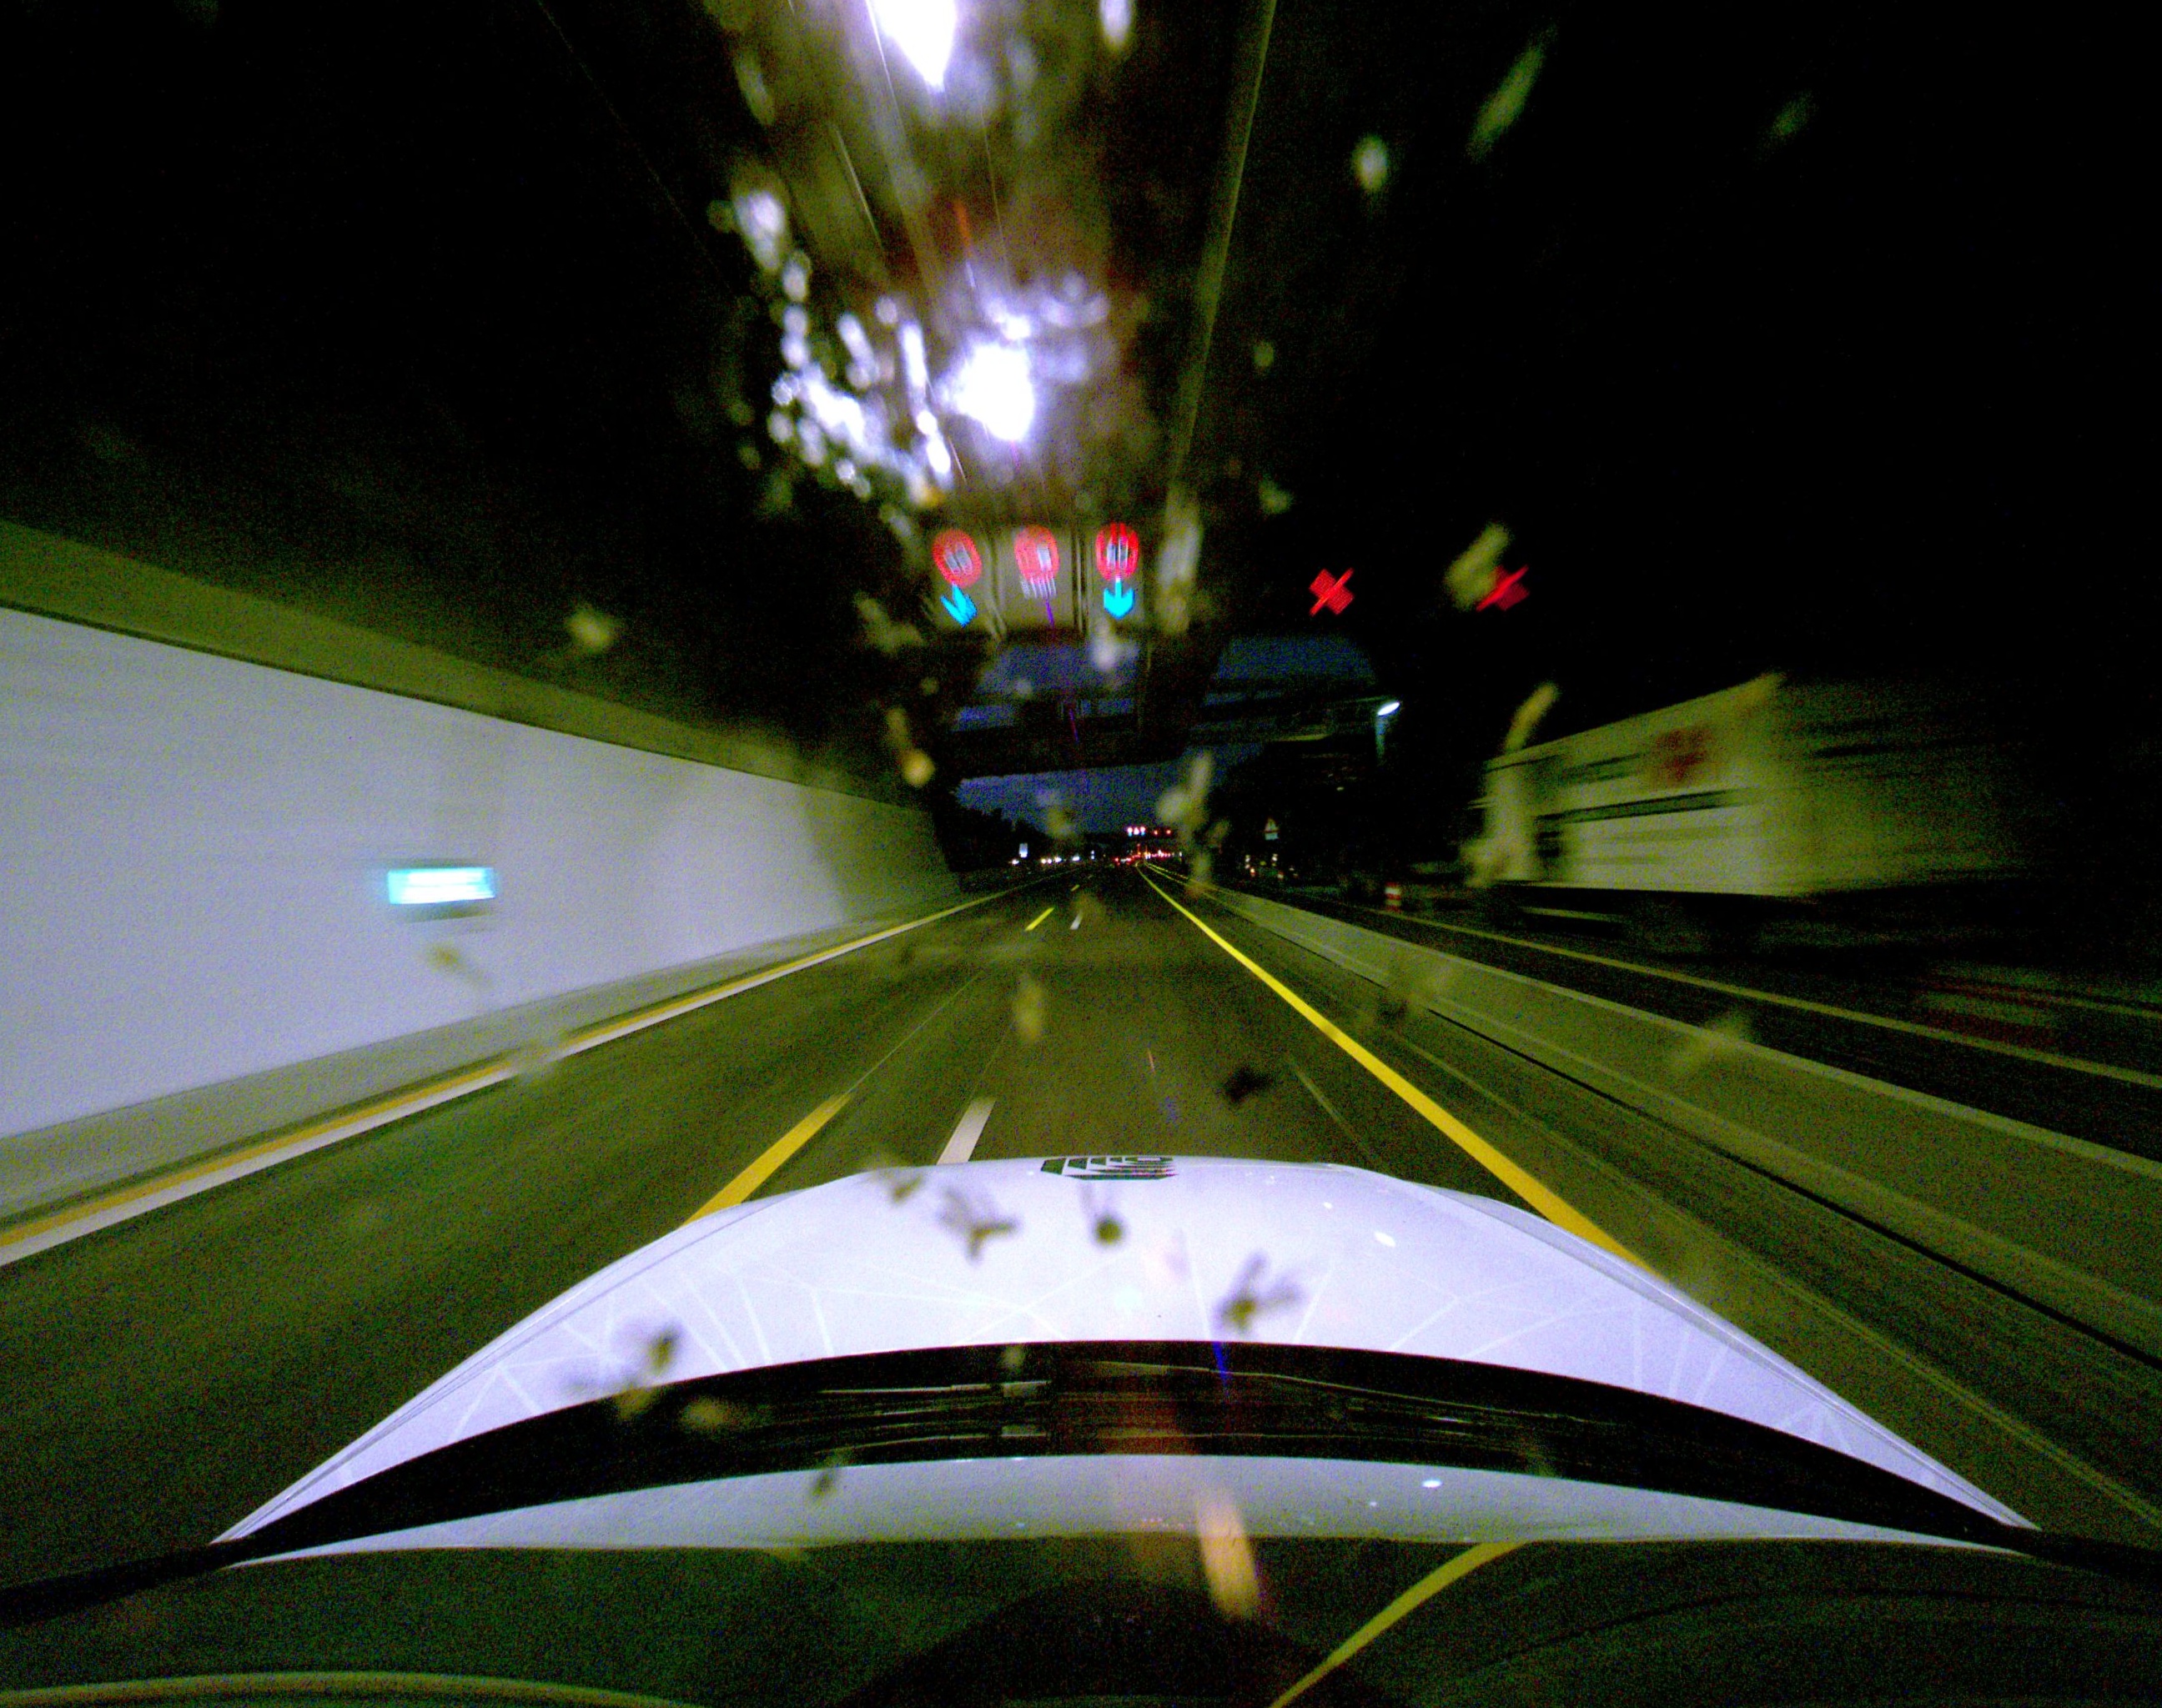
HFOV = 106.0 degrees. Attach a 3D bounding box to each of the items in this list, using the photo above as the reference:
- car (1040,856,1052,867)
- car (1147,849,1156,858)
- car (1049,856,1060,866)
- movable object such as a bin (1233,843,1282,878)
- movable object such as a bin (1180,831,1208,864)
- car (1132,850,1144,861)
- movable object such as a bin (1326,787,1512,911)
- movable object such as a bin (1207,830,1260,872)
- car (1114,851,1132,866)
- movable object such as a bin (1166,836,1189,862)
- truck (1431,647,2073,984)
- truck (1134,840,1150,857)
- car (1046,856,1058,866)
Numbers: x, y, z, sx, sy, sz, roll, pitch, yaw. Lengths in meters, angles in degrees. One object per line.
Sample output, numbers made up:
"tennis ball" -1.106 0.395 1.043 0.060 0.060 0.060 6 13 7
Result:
"car" -6.584 1.410 153.000 1.986 2.013 4.002 -1 0 2
"car" 17.793 -0.122 205.380 1.985 2.013 4.003 -1 0 3
"car" -5.504 1.456 170.006 1.986 2.013 4.002 -1 0 2
"movable object such as a bin" 9.715 0.347 45.215 1.971 1.816 3.838 -1 0 2
"movable object such as a bin" 13.424 -0.725 97.265 2.726 3.679 6.338 -1 0 3
"car" 10.414 0.247 149.214 1.983 2.013 4.008 -1 0 7
"movable object such as a bin" 8.812 -0.094 22.248 2.230 2.794 7.235 -1 0 2
"movable object such as a bin" 10.747 -0.183 57.904 2.726 2.754 7.054 -1 0 3
"car" 4.578 0.501 88.079 1.879 1.607 4.004 -1 0 4
"movable object such as a bin" 13.770 -0.658 116.202 2.726 3.455 6.951 -1 0 3
"truck" 8.425 -0.364 12.248 2.881 3.272 8.404 -1 0 2
"truck" 18.148 -1.577 242.605 4.527 4.987 9.606 -1 0 3
"car" -5.830 1.435 163.085 1.986 2.013 4.002 -1 0 2
